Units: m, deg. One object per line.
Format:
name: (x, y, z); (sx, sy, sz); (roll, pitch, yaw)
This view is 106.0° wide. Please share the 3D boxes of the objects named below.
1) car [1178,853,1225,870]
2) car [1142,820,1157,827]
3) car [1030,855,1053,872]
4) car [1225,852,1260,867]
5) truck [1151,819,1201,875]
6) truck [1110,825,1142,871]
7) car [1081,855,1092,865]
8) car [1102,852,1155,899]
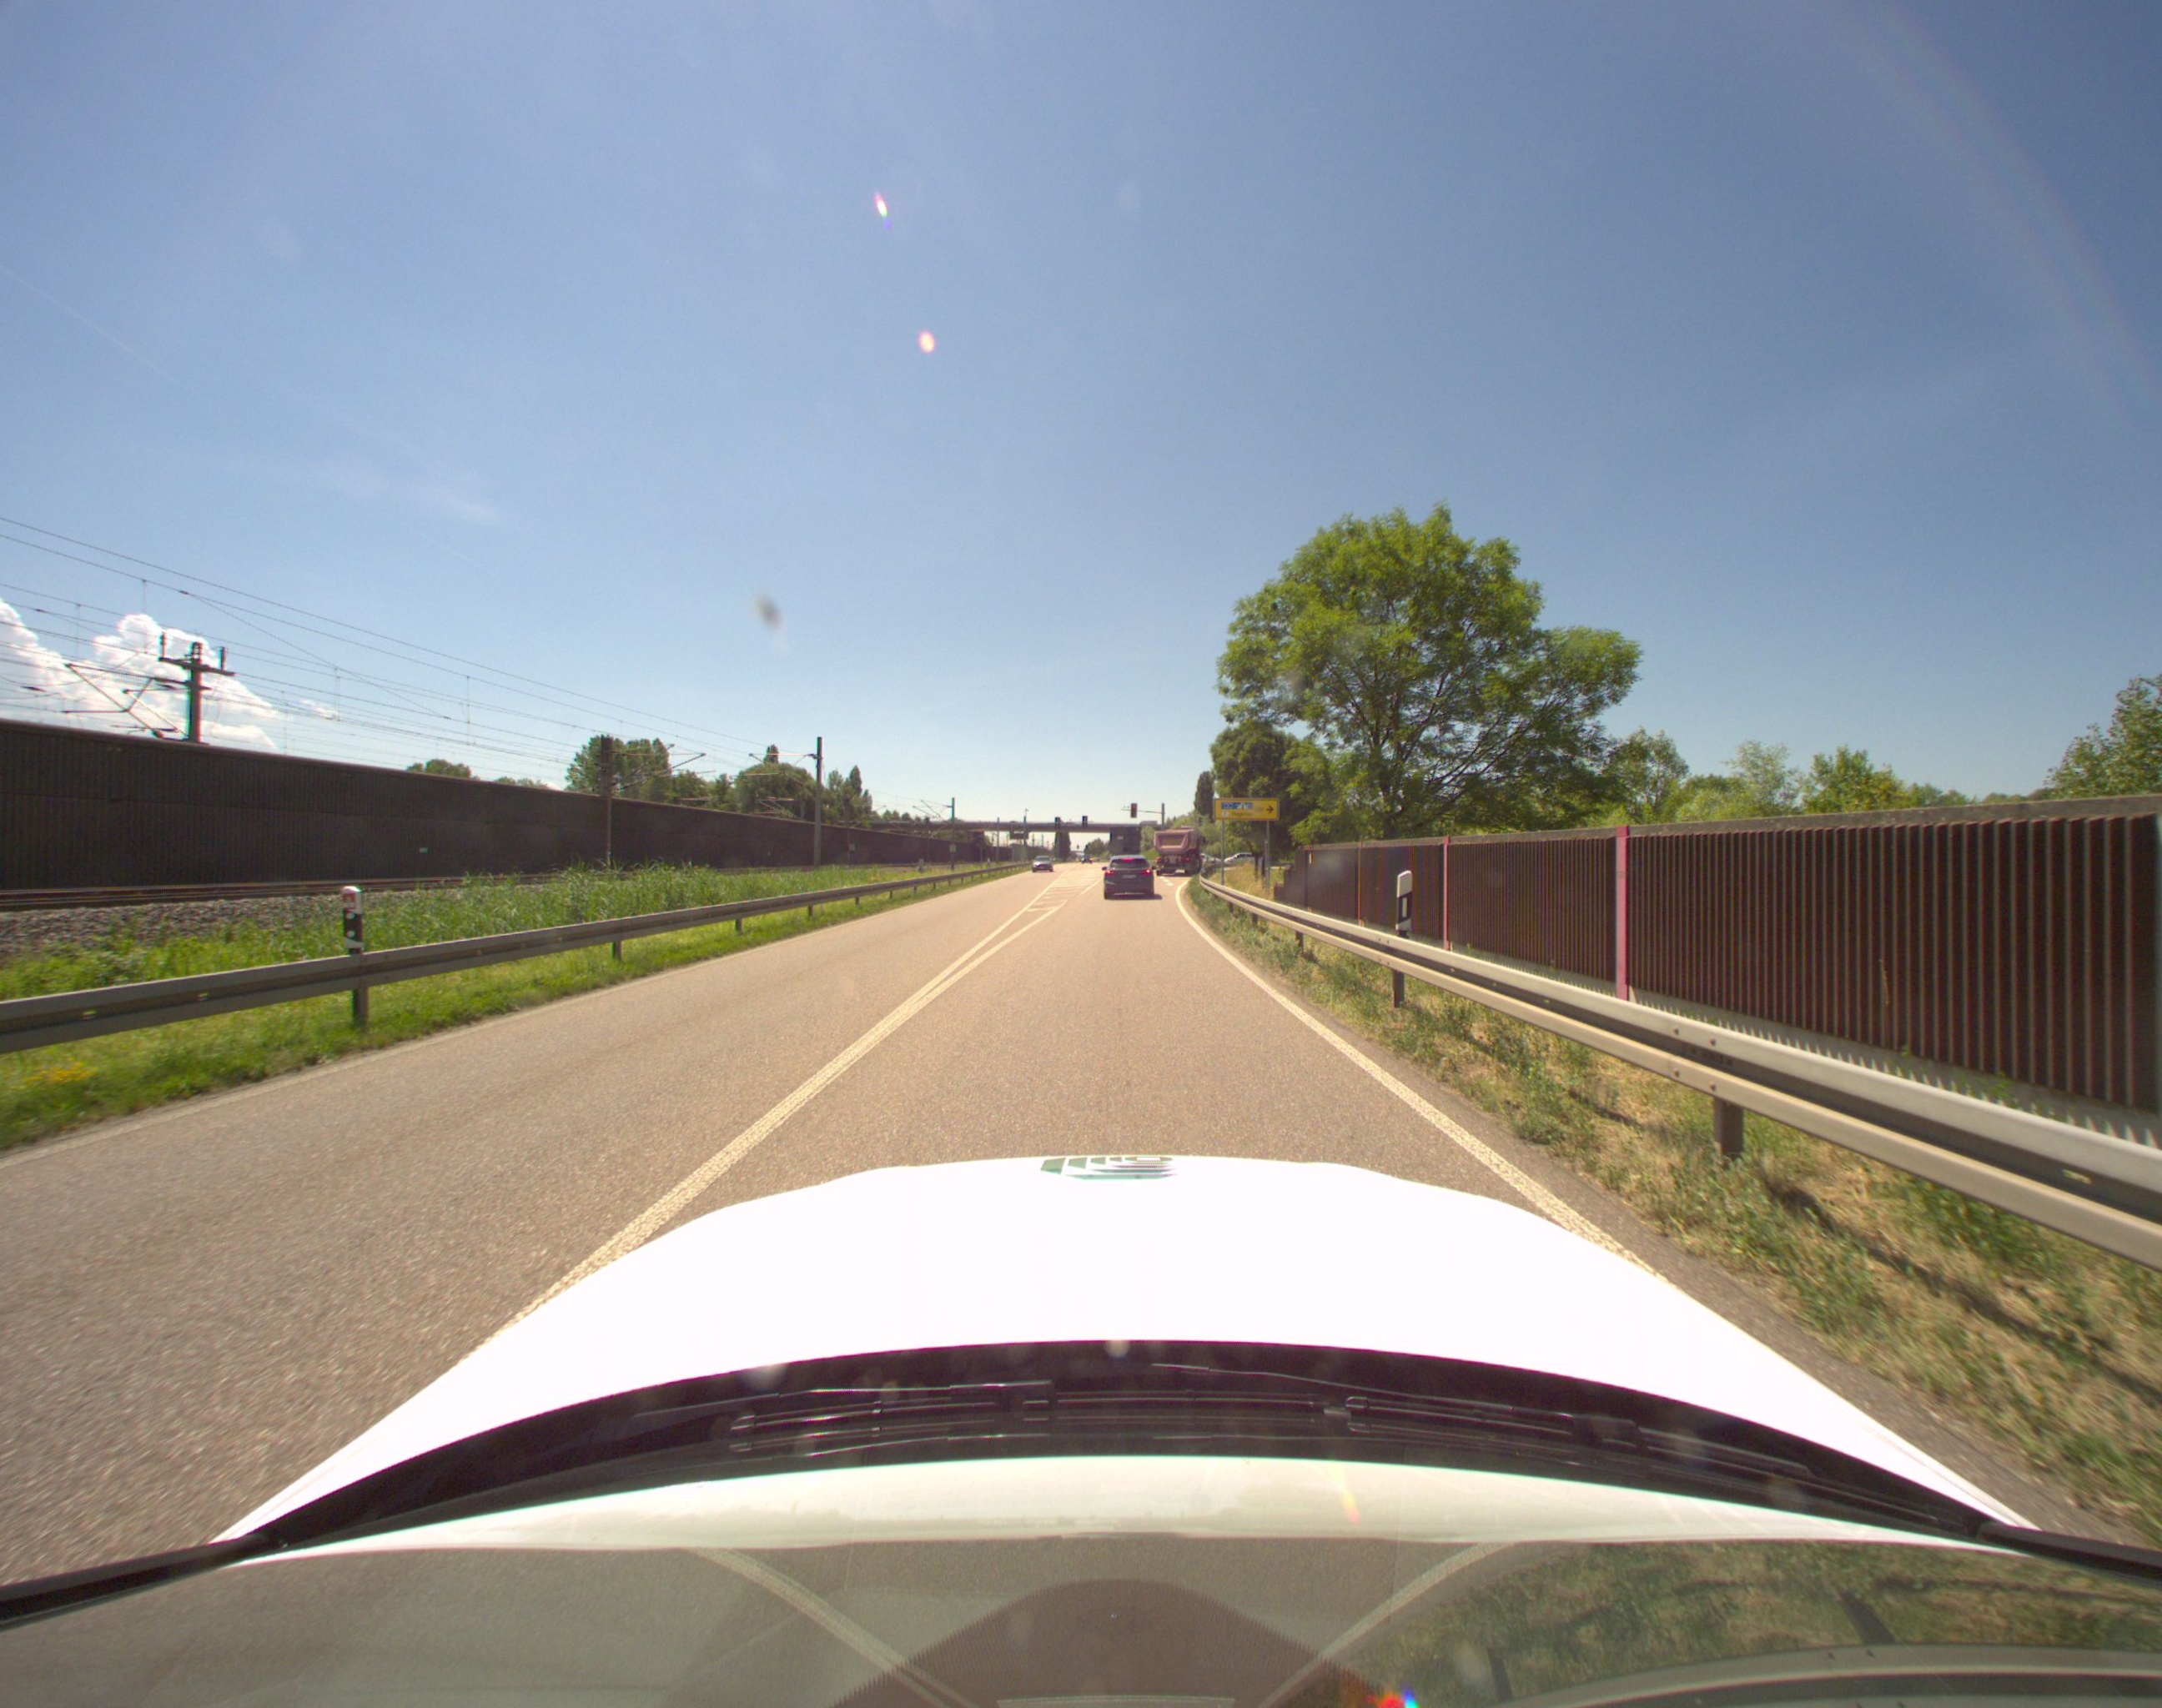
car: (12.631, 0.775, 84.951); (4.613, 1.632, 1.942); (-1, 0, 15)
car: (18.778, -8.402, 224.809); (3.973, 2.014, 2.000); (-1, 0, 1)
car: (-3.542, 0.861, 74.540); (1.859, 1.485, 4.886); (-1, 0, 0)
car: (18.413, 0.645, 92.949); (3.693, 1.632, 1.735); (-1, 0, 1)
truck: (7.365, -0.439, 61.614); (2.815, 3.821, 11.921); (-1, 0, 11)
truck: (3.863, -0.503, 71.667); (2.579, 3.737, 9.580); (-1, 0, 2)
car: (1.025, 1.194, 151.582); (1.919, 1.767, 4.601); (0, 0, 3)
car: (1.724, 0.742, 30.337); (1.837, 1.623, 4.228); (-1, 0, 2)
